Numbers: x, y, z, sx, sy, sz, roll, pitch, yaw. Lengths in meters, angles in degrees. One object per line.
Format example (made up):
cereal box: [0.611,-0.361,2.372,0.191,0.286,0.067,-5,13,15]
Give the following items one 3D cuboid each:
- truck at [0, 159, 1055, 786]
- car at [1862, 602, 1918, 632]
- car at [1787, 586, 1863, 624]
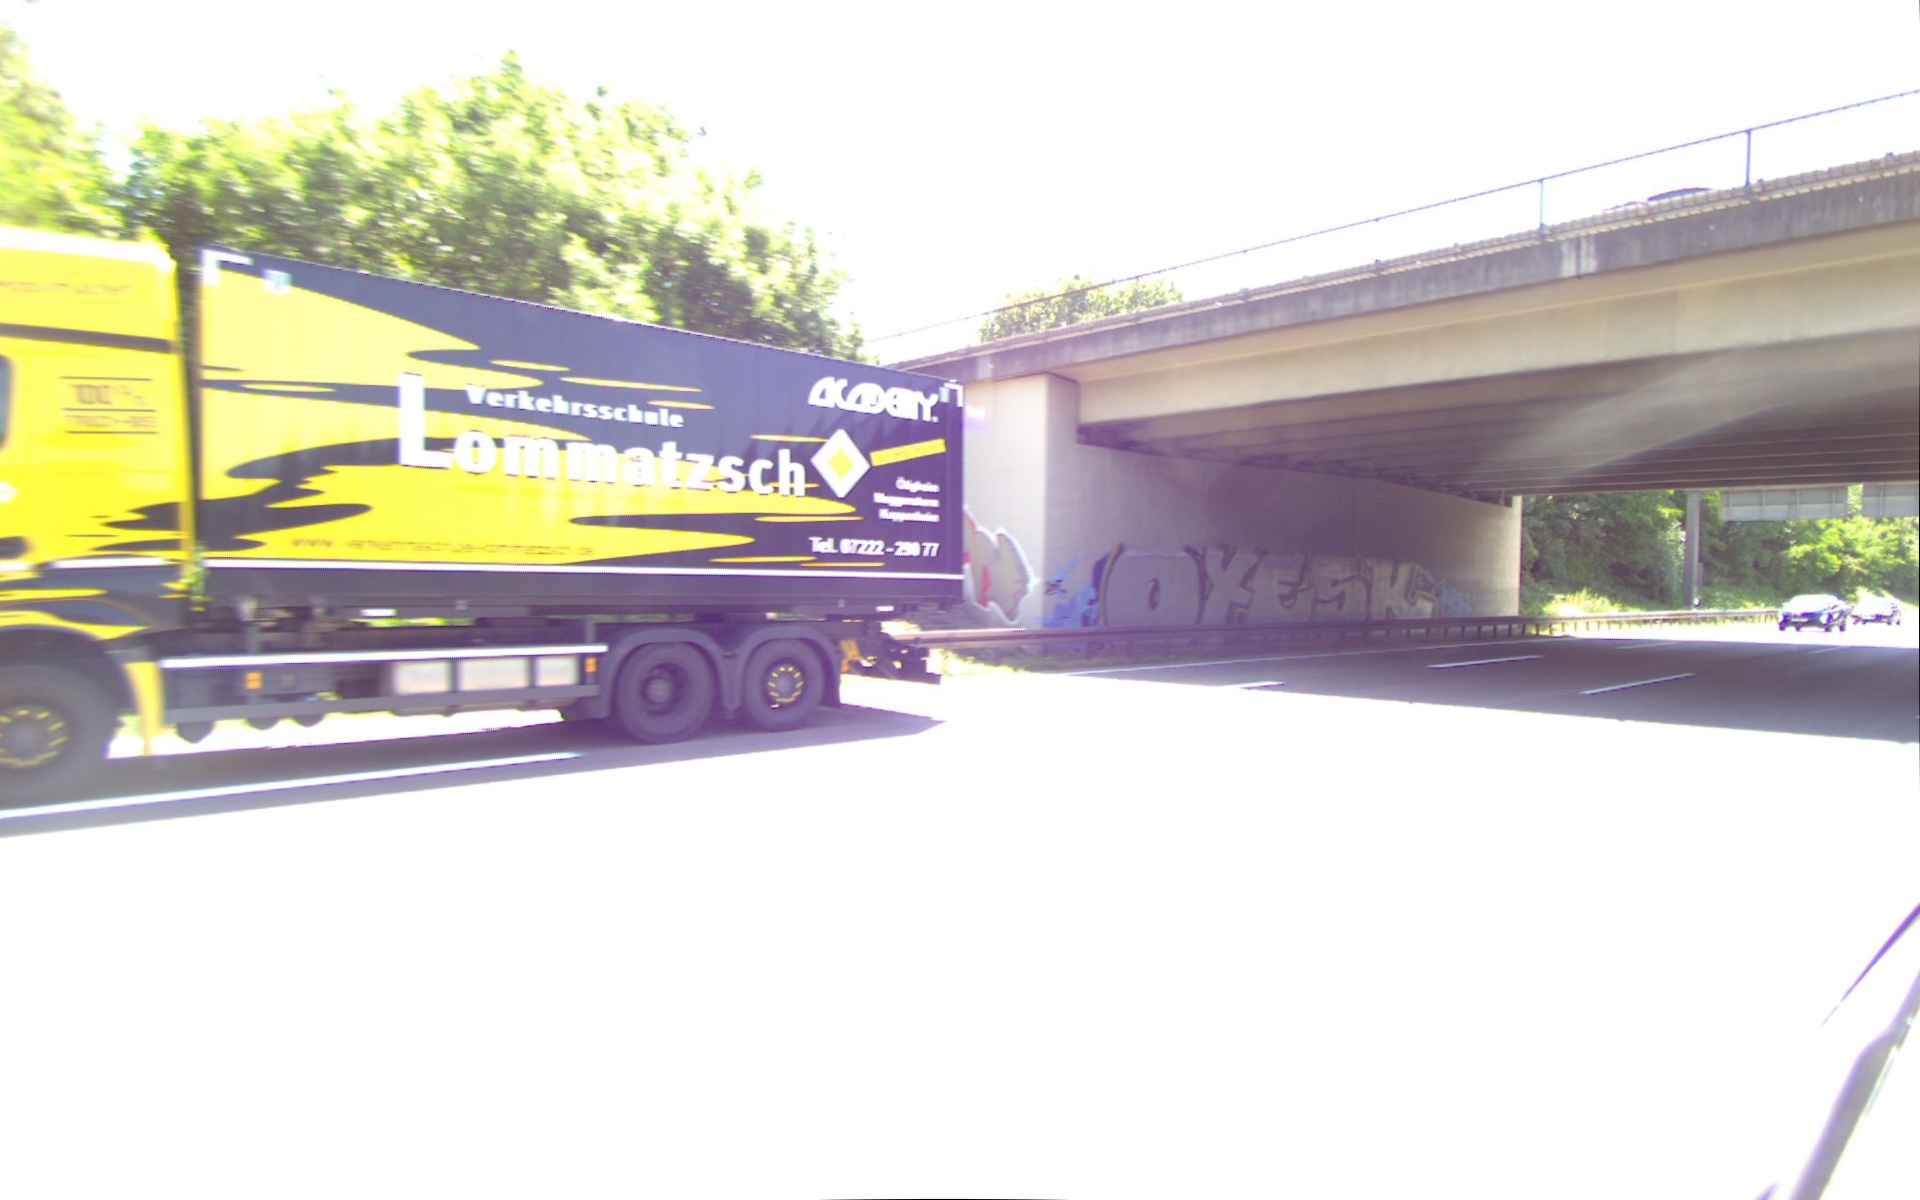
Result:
truck: [-3.911,-0.867,10.465,10.785,4.088,2.981,-1,0,-40]
car: [49.139,0.880,53.446,4.494,1.465,1.673,-1,1,-41]
car: [37.103,0.185,43.370,4.128,1.575,1.873,-1,1,-41]
